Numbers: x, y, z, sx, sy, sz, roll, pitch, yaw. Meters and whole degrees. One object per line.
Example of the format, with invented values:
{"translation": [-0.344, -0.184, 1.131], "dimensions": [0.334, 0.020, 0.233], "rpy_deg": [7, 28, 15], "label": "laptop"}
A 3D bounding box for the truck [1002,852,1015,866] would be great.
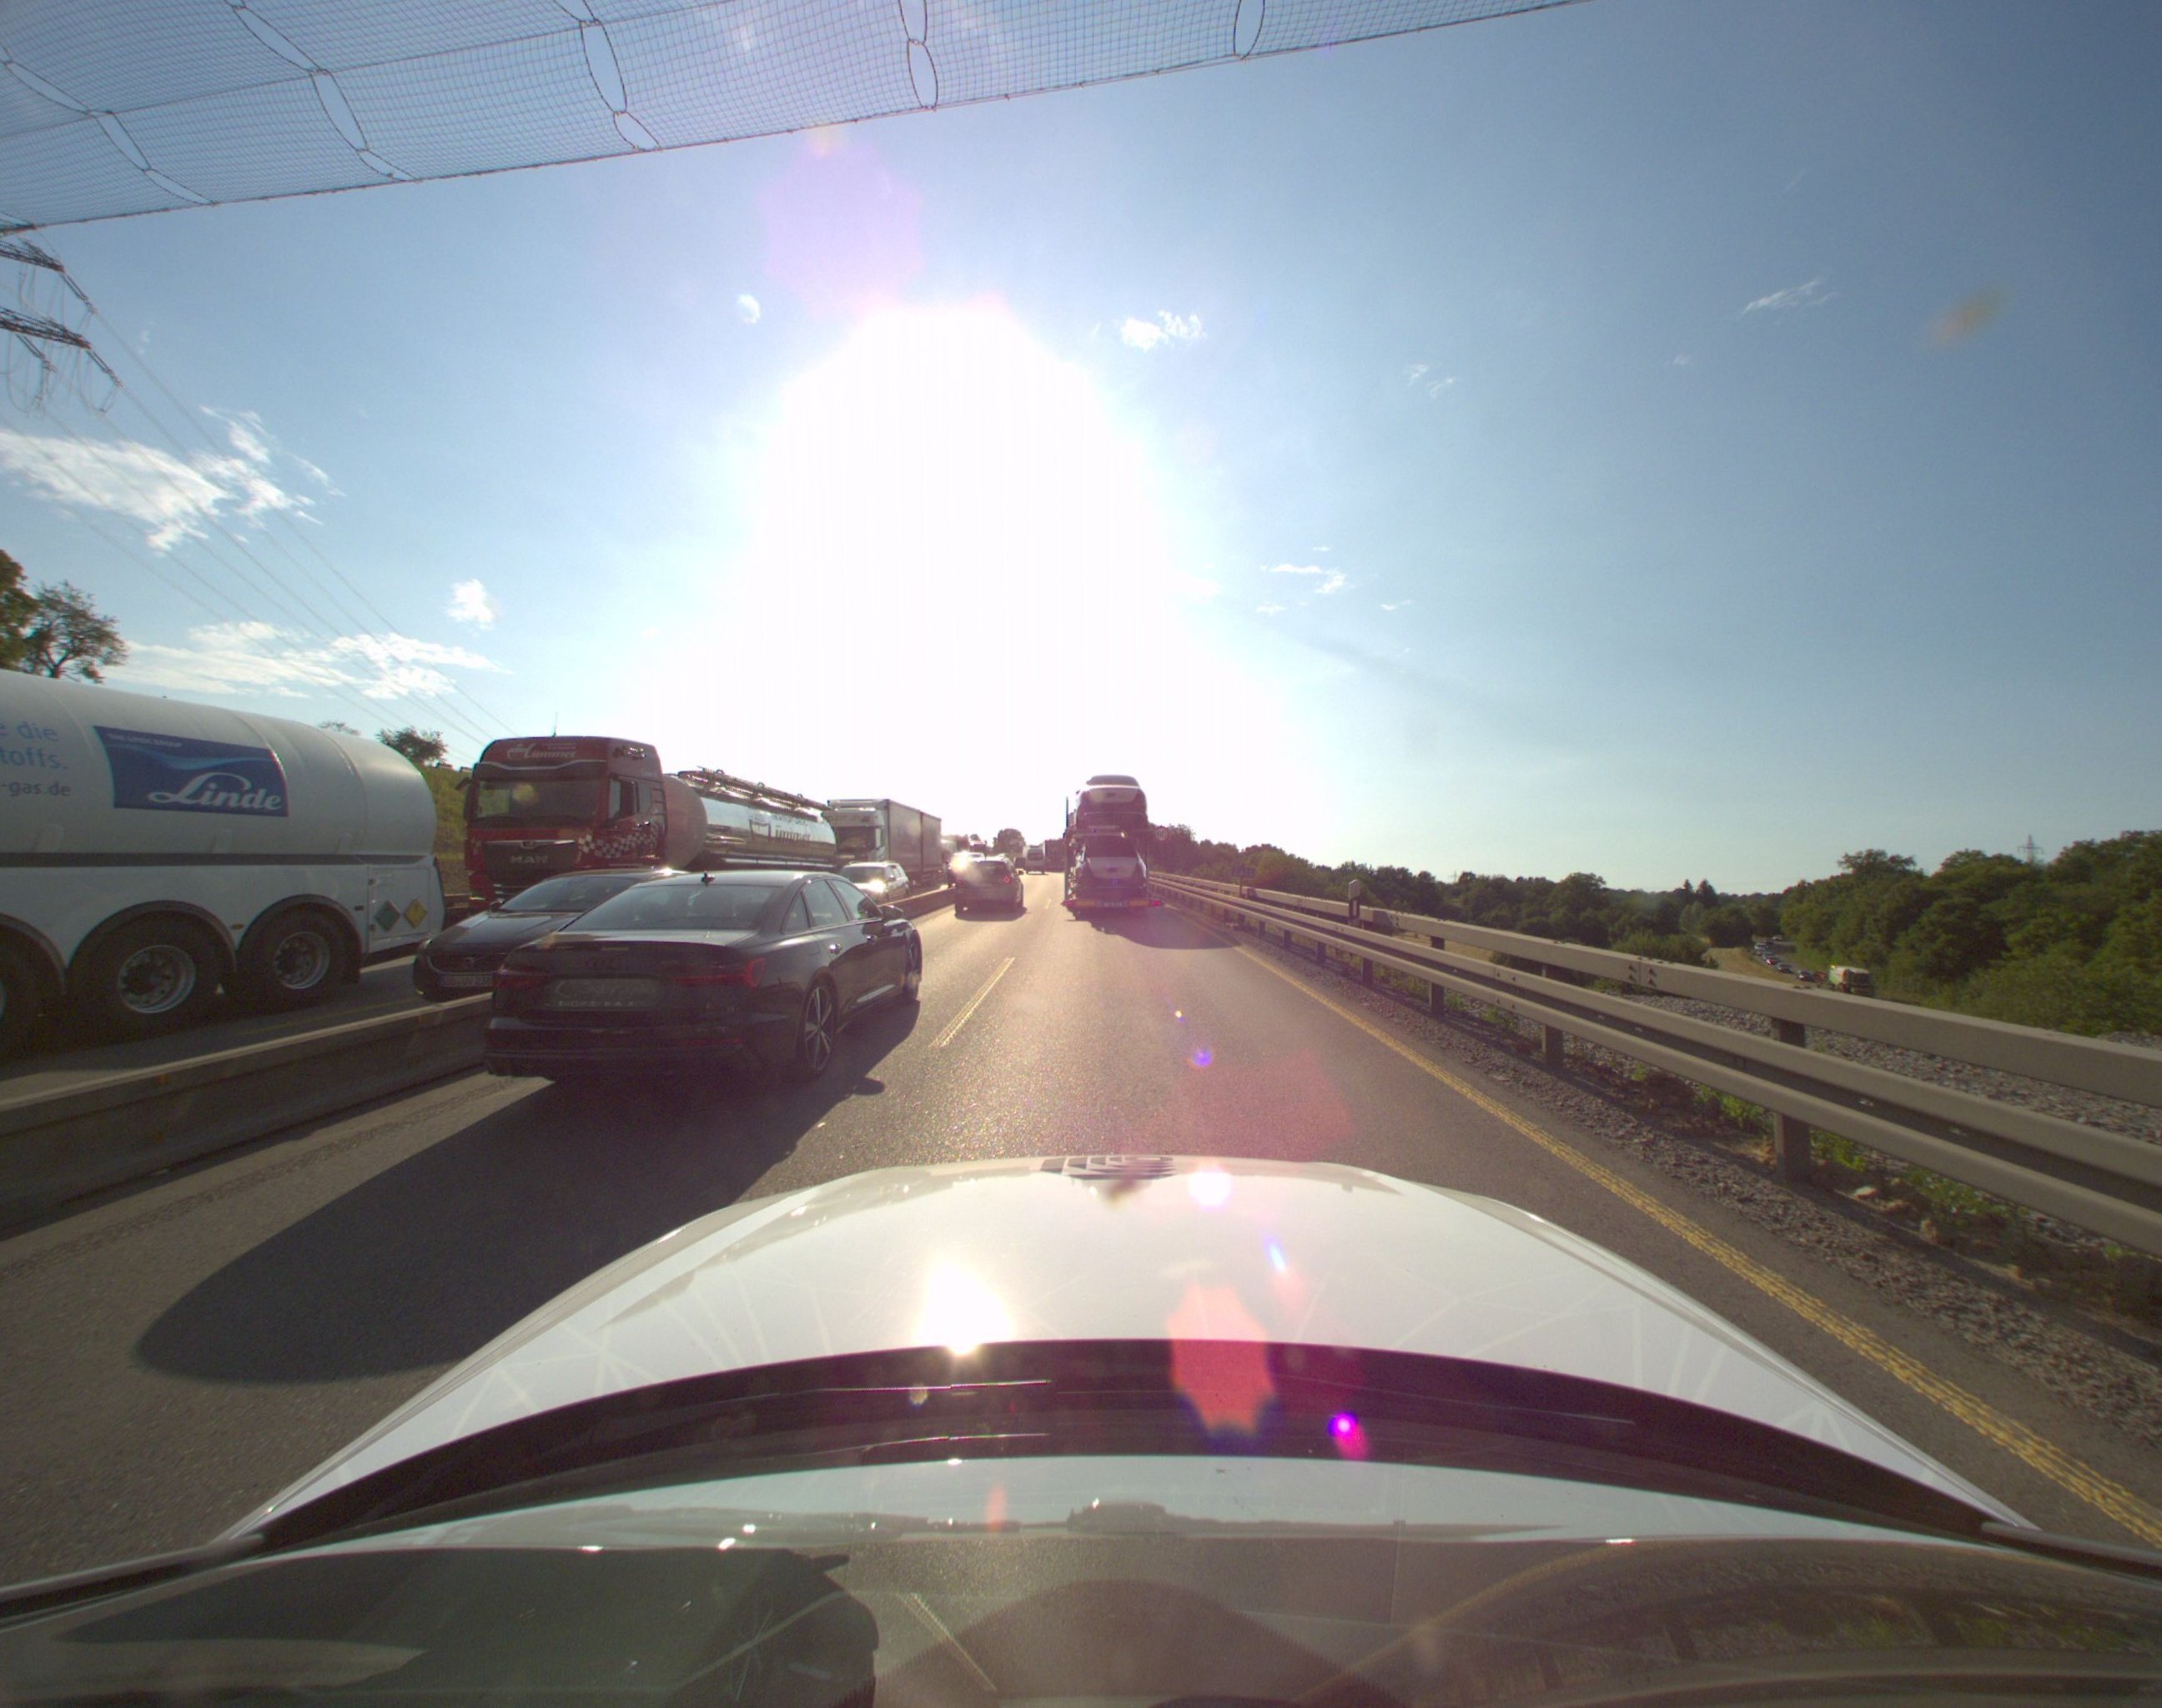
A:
{"translation": [-16.739, 1.171, 187.765], "dimensions": [2.584, 3.170, 6.669], "rpy_deg": [-1, -1, -3], "label": "truck"}

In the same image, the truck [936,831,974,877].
{"translation": [-10.646, 0.043, 69.465], "dimensions": [2.595, 3.754, 6.508], "rpy_deg": [-1, -1, -3], "label": "truck"}

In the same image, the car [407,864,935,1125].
{"translation": [-2.723, 0.810, 7.005], "dimensions": [1.927, 1.399, 4.962], "rpy_deg": [0, 0, 1], "label": "car"}

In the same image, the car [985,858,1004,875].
{"translation": [-8.431, 1.225, 79.966], "dimensions": [1.754, 1.695, 4.445], "rpy_deg": [-1, -1, -5], "label": "car"}

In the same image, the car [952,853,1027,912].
{"translation": [-2.637, 0.815, 24.321], "dimensions": [1.685, 1.596, 4.001], "rpy_deg": [-1, -1, 1], "label": "car"}

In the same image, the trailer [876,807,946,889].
{"translation": [-9.456, -0.267, 46.112], "dimensions": [2.437, 4.189, 8.535], "rpy_deg": [-1, -1, -2], "label": "trailer"}

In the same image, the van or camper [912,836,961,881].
{"translation": [-10.005, 0.348, 57.083], "dimensions": [2.402, 2.891, 7.610], "rpy_deg": [-1, -1, -3], "label": "van or camper"}

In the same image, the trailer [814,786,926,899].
{"translation": [-9.143, -0.391, 36.684], "dimensions": [2.469, 4.329, 10.505], "rpy_deg": [-1, -1, -1], "label": "trailer"}

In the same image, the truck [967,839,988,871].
{"translation": [-13.439, 0.129, 106.294], "dimensions": [2.500, 4.066, 5.653], "rpy_deg": [-1, -1, -6], "label": "truck"}

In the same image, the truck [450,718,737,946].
{"translation": [-9.290, -0.341, 16.374], "dimensions": [2.425, 3.785, 5.615], "rpy_deg": [-1, -1, -1], "label": "truck"}

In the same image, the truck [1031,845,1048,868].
{"translation": [-6.866, 0.446, 136.967], "dimensions": [2.523, 3.648, 8.900], "rpy_deg": [-1, -1, -1], "label": "truck"}

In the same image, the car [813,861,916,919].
{"translation": [-5.875, 0.937, 22.664], "dimensions": [1.622, 1.426, 4.656], "rpy_deg": [-1, -1, 0], "label": "car"}

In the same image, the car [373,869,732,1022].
{"translation": [-6.006, 0.912, 10.011], "dimensions": [1.623, 1.426, 4.385], "rpy_deg": [-1, -1, -1], "label": "car"}

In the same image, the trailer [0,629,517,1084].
{"translation": [-9.163, 0.020, 5.280], "dimensions": [2.298, 3.362, 12.056], "rpy_deg": [-1, -1, 2], "label": "trailer"}

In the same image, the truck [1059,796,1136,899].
{"translation": [0.520, -0.183, 35.166], "dimensions": [2.830, 3.792, 9.980], "rpy_deg": [-1, -1, -1], "label": "truck"}

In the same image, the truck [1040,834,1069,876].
{"translation": [-3.560, 0.144, 106.699], "dimensions": [3.280, 5.237, 9.919], "rpy_deg": [-1, -1, -4], "label": "truck"}

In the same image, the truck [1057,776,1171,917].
{"translation": [0.724, -0.130, 25.628], "dimensions": [2.791, 3.497, 10.598], "rpy_deg": [-1, -1, -1], "label": "truck"}

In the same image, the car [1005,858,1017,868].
{"translation": [-12.650, 1.657, 148.032], "dimensions": [1.821, 1.772, 3.998], "rpy_deg": [-1, -1, -1], "label": "car"}

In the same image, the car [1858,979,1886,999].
{"translation": [106.690, 18.224, 109.858], "dimensions": [1.858, 2.014, 4.025], "rpy_deg": [-1, -1, 31], "label": "car"}

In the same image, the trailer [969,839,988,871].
{"translation": [-14.268, 0.246, 113.733], "dimensions": [2.304, 4.130, 14.567], "rpy_deg": [0, -1, -6], "label": "trailer"}

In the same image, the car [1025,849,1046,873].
{"translation": [-4.757, 0.751, 85.944], "dimensions": [1.915, 2.493, 5.406], "rpy_deg": [-1, -1, 0], "label": "car"}

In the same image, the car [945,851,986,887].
{"translation": [-6.485, 0.851, 46.256], "dimensions": [1.812, 1.925, 4.832], "rpy_deg": [-1, -1, -2], "label": "car"}

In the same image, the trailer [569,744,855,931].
{"translation": [-9.175, -0.260, 22.584], "dimensions": [2.299, 3.790, 12.052], "rpy_deg": [-1, -1, 1], "label": "trailer"}

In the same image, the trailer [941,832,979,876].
{"translation": [-11.018, 0.112, 75.487], "dimensions": [2.515, 3.725, 13.954], "rpy_deg": [-1, -1, -5], "label": "trailer"}
